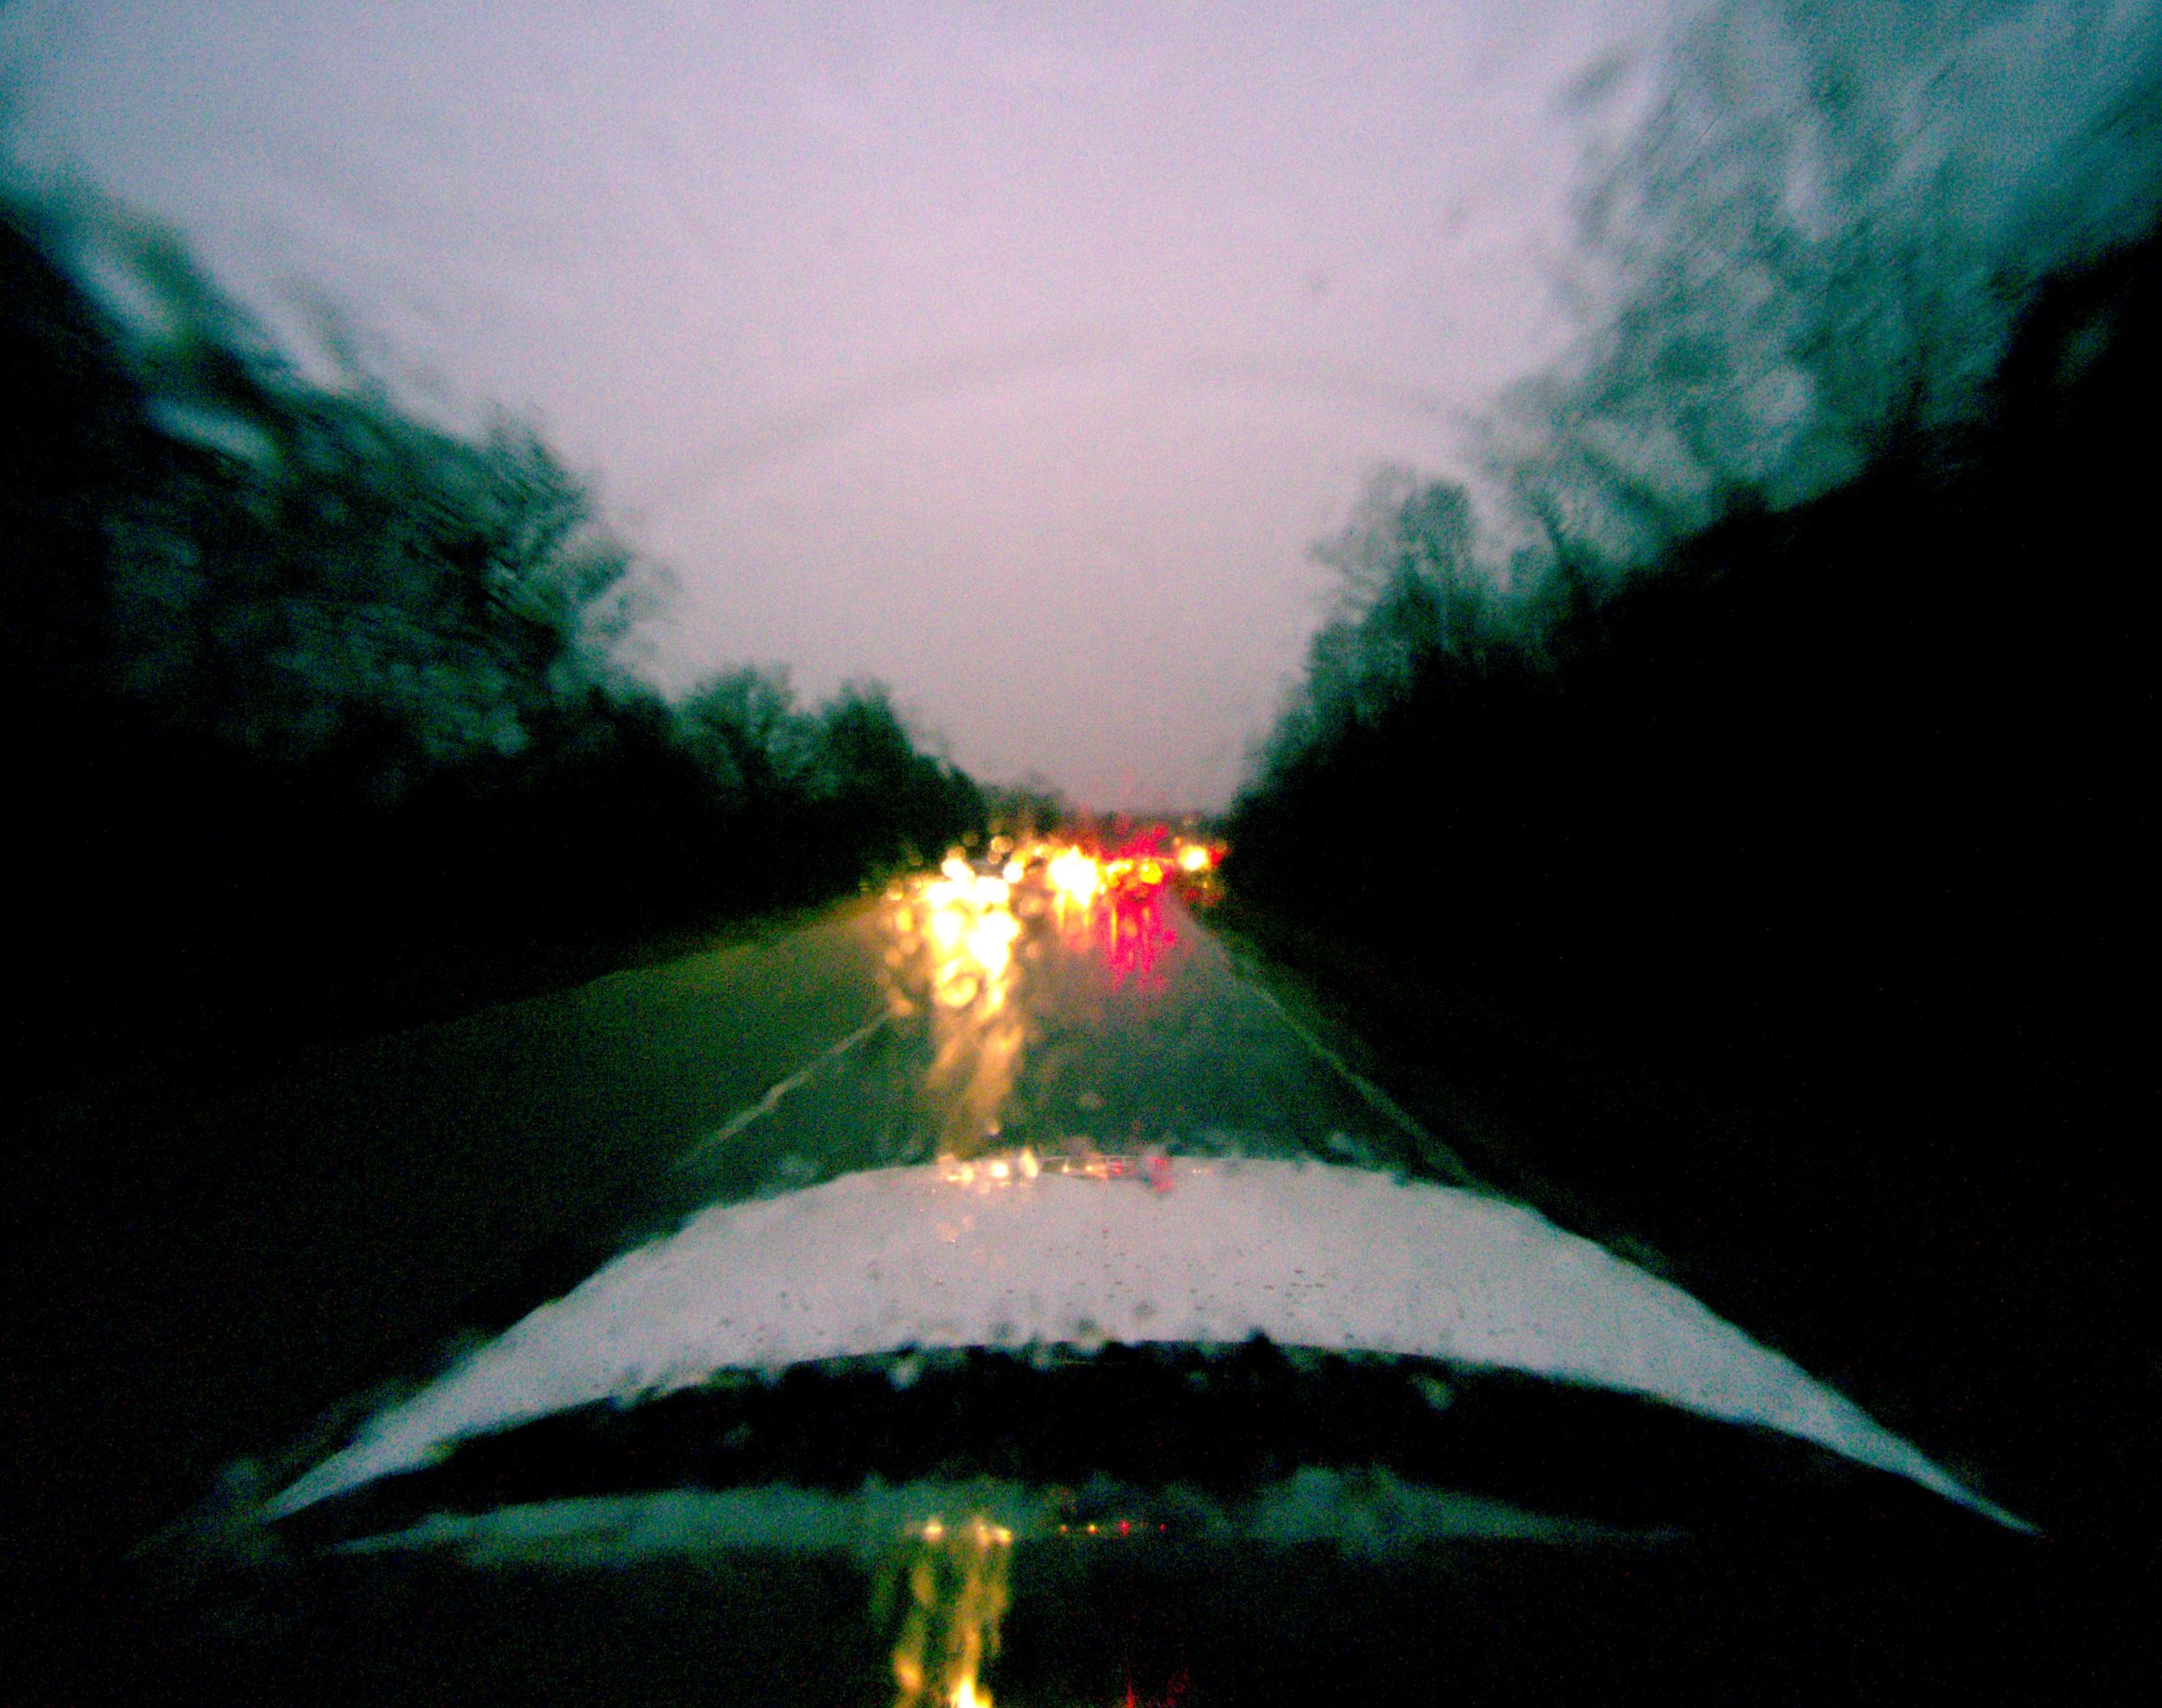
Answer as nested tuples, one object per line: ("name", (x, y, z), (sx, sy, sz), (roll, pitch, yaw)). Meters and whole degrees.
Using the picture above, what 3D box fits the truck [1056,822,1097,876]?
("truck", (-0.224, -0.378, 61.813), (2.812, 3.716, 8.535), (-2, 0, 1))

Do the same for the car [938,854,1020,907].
("car", (-3.055, 0.751, 25.239), (1.738, 1.473, 4.487), (0, 0, 3))

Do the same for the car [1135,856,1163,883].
("car", (5.404, 1.182, 64.228), (1.983, 2.013, 4.007), (-2, 0, 6))

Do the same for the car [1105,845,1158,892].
("car", (1.859, 0.510, 31.006), (1.722, 1.643, 3.999), (-2, 0, 0))
